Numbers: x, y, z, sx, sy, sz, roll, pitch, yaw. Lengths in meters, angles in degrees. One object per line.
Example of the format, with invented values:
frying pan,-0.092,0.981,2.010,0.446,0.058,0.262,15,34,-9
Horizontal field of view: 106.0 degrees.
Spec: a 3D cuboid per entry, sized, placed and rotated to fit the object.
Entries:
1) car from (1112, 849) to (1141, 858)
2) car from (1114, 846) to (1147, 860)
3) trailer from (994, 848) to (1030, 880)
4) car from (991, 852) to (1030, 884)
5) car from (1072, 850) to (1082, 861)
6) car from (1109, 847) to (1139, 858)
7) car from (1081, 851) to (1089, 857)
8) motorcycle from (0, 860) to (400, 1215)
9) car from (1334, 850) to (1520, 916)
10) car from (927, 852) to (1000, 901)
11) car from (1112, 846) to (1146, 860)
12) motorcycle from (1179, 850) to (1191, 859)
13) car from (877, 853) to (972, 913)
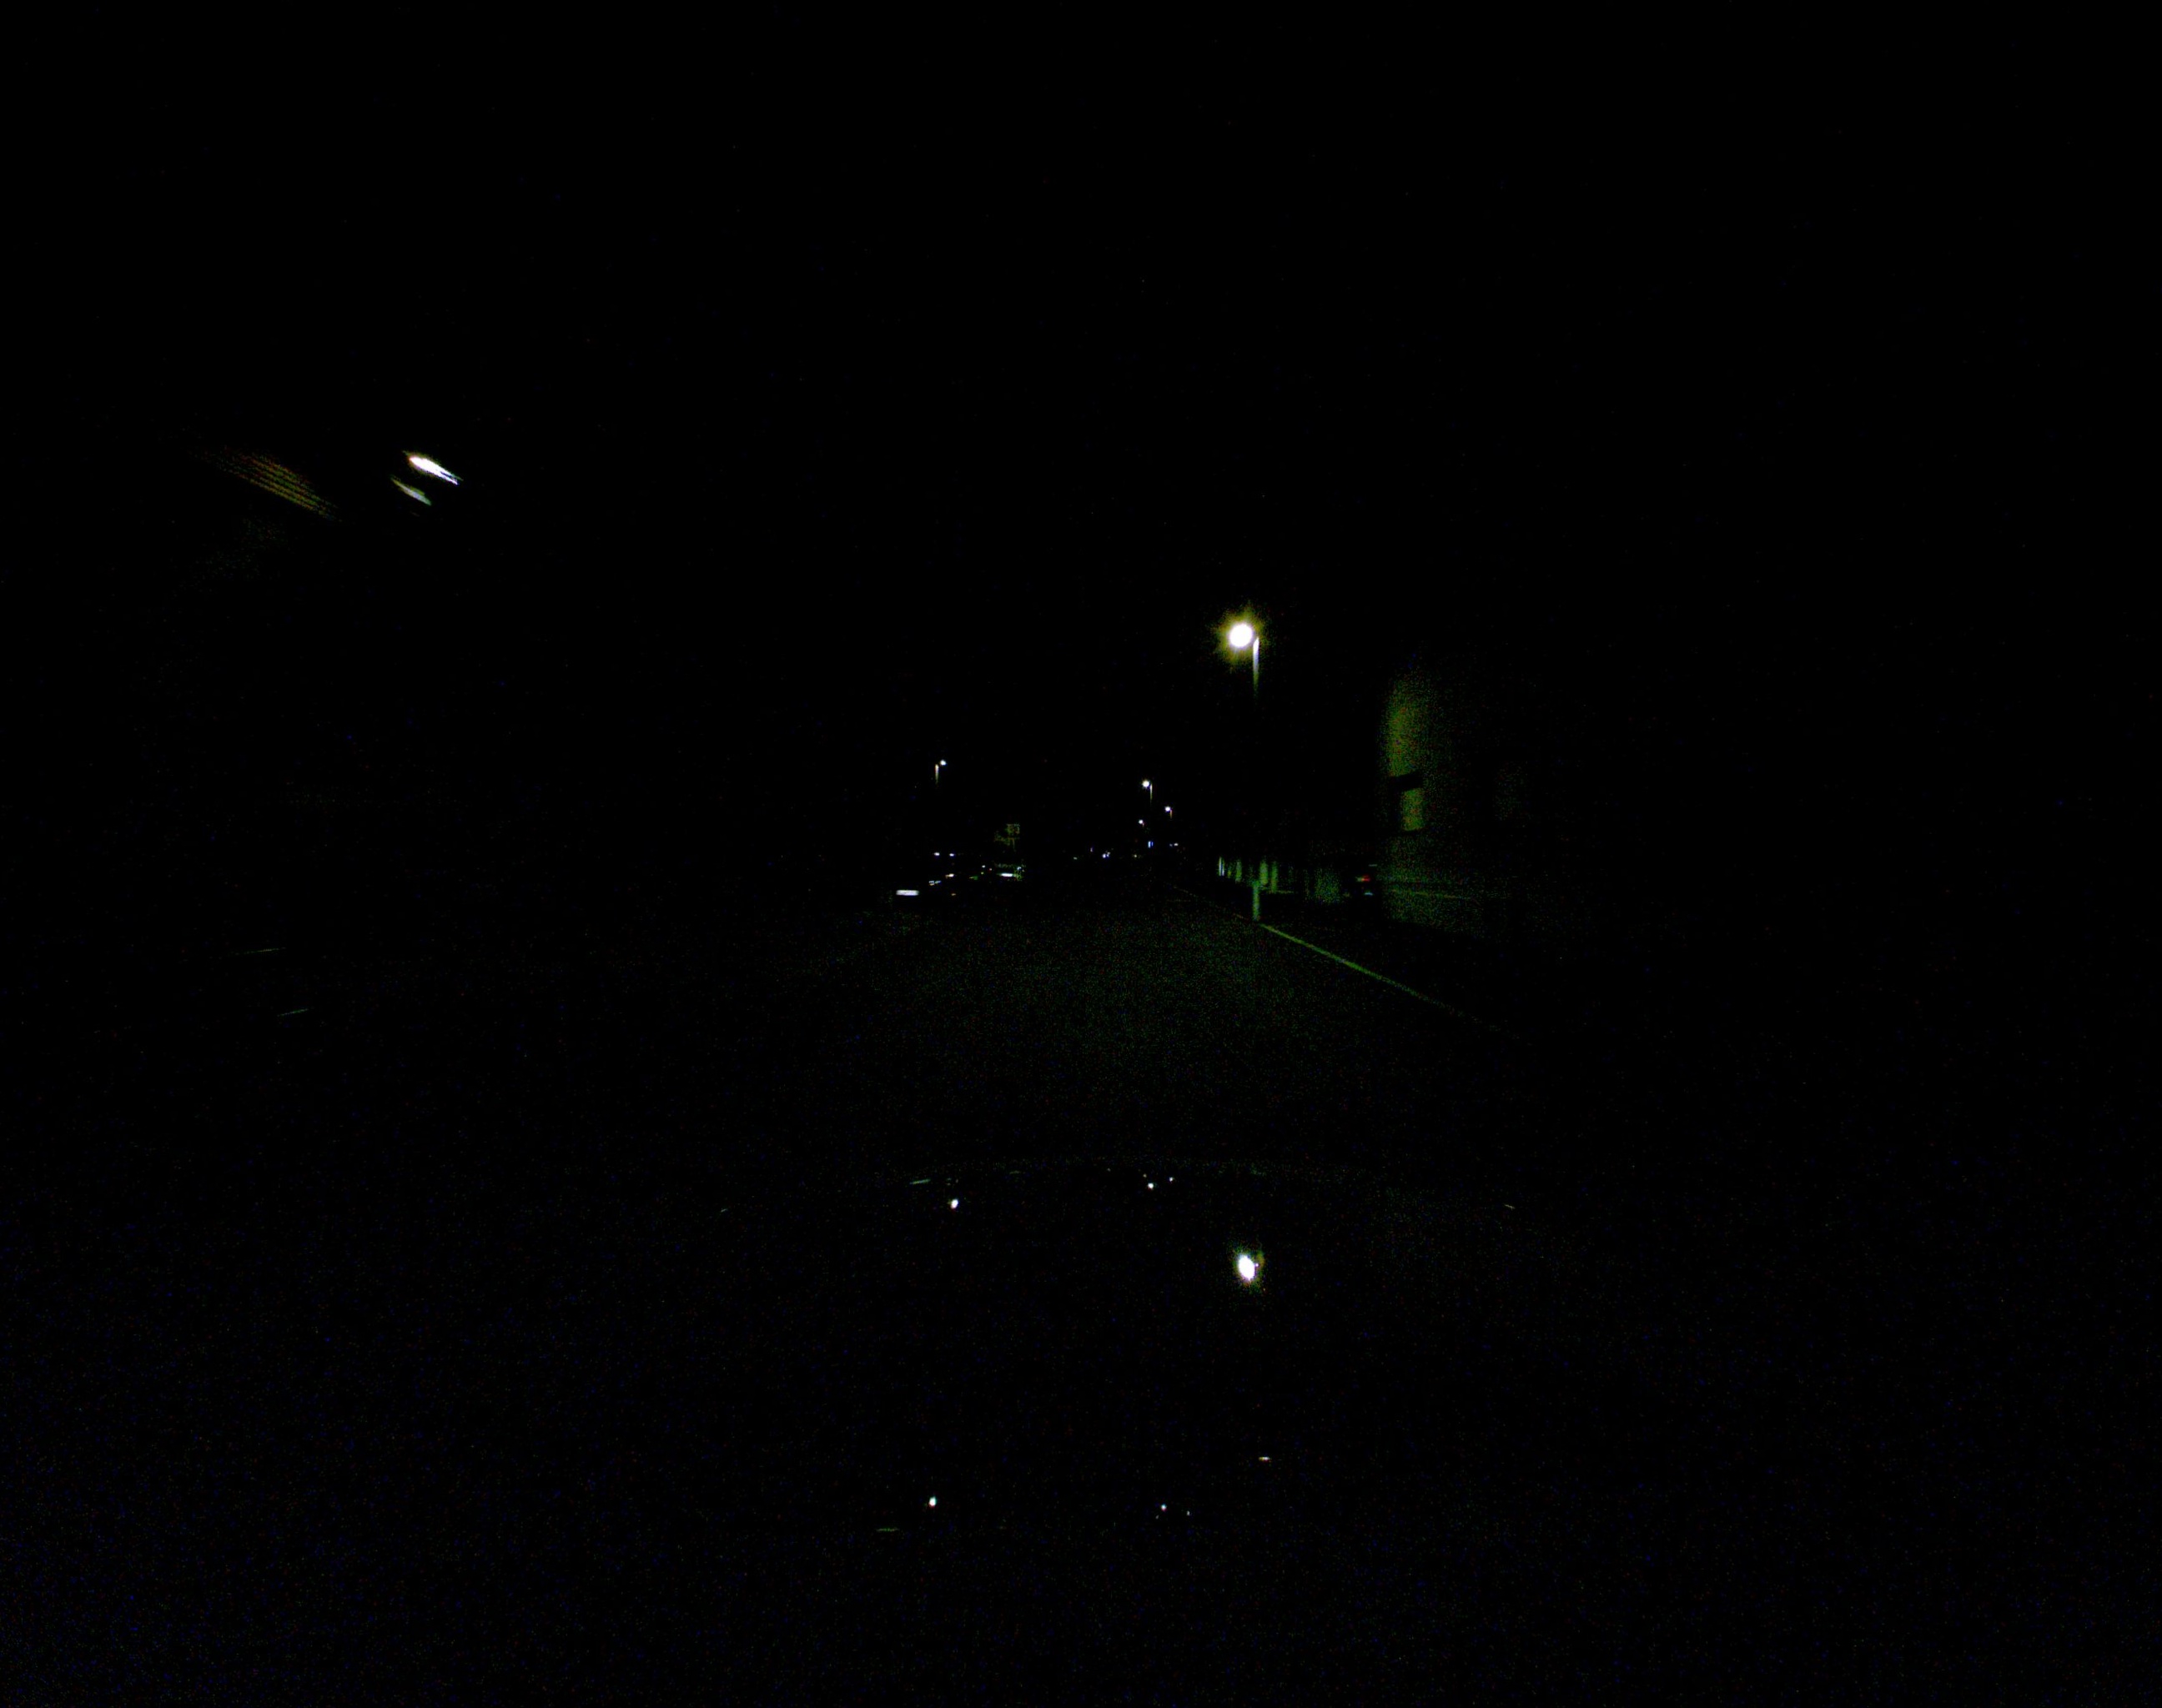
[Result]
car,8.312,-0.036,150.175,5.166,1.469,2.101,-2,0,-1
car,7.929,-0.199,131.186,5.166,2.013,2.101,-2,0,-1
trailer,-3.797,0.525,45.224,1.442,1.688,3.430,2,0,4
car,-3.602,0.674,42.001,1.666,1.522,2.978,2,0,0
car,-0.721,0.215,151.815,1.819,1.986,4.465,1,0,0
car,8.080,-0.262,152.897,5.150,1.887,2.108,-2,0,10
car,0.954,-0.003,183.626,1.678,1.331,3.599,0,0,0
motorcycle,-4.748,0.768,3.985,0.741,1.452,2.201,-1,0,10
car,8.041,0.645,19.188,3.695,1.473,1.732,0,0,4
car,-3.933,0.707,27.981,1.760,1.519,4.280,1,0,1
car,7.586,-0.158,128.125,5.166,2.013,2.101,-2,0,-1
motorcycle,17.104,0.049,133.962,1.060,1.326,2.722,0,1,25
car,-4.289,0.737,22.945,1.681,1.510,4.281,0,0,2
